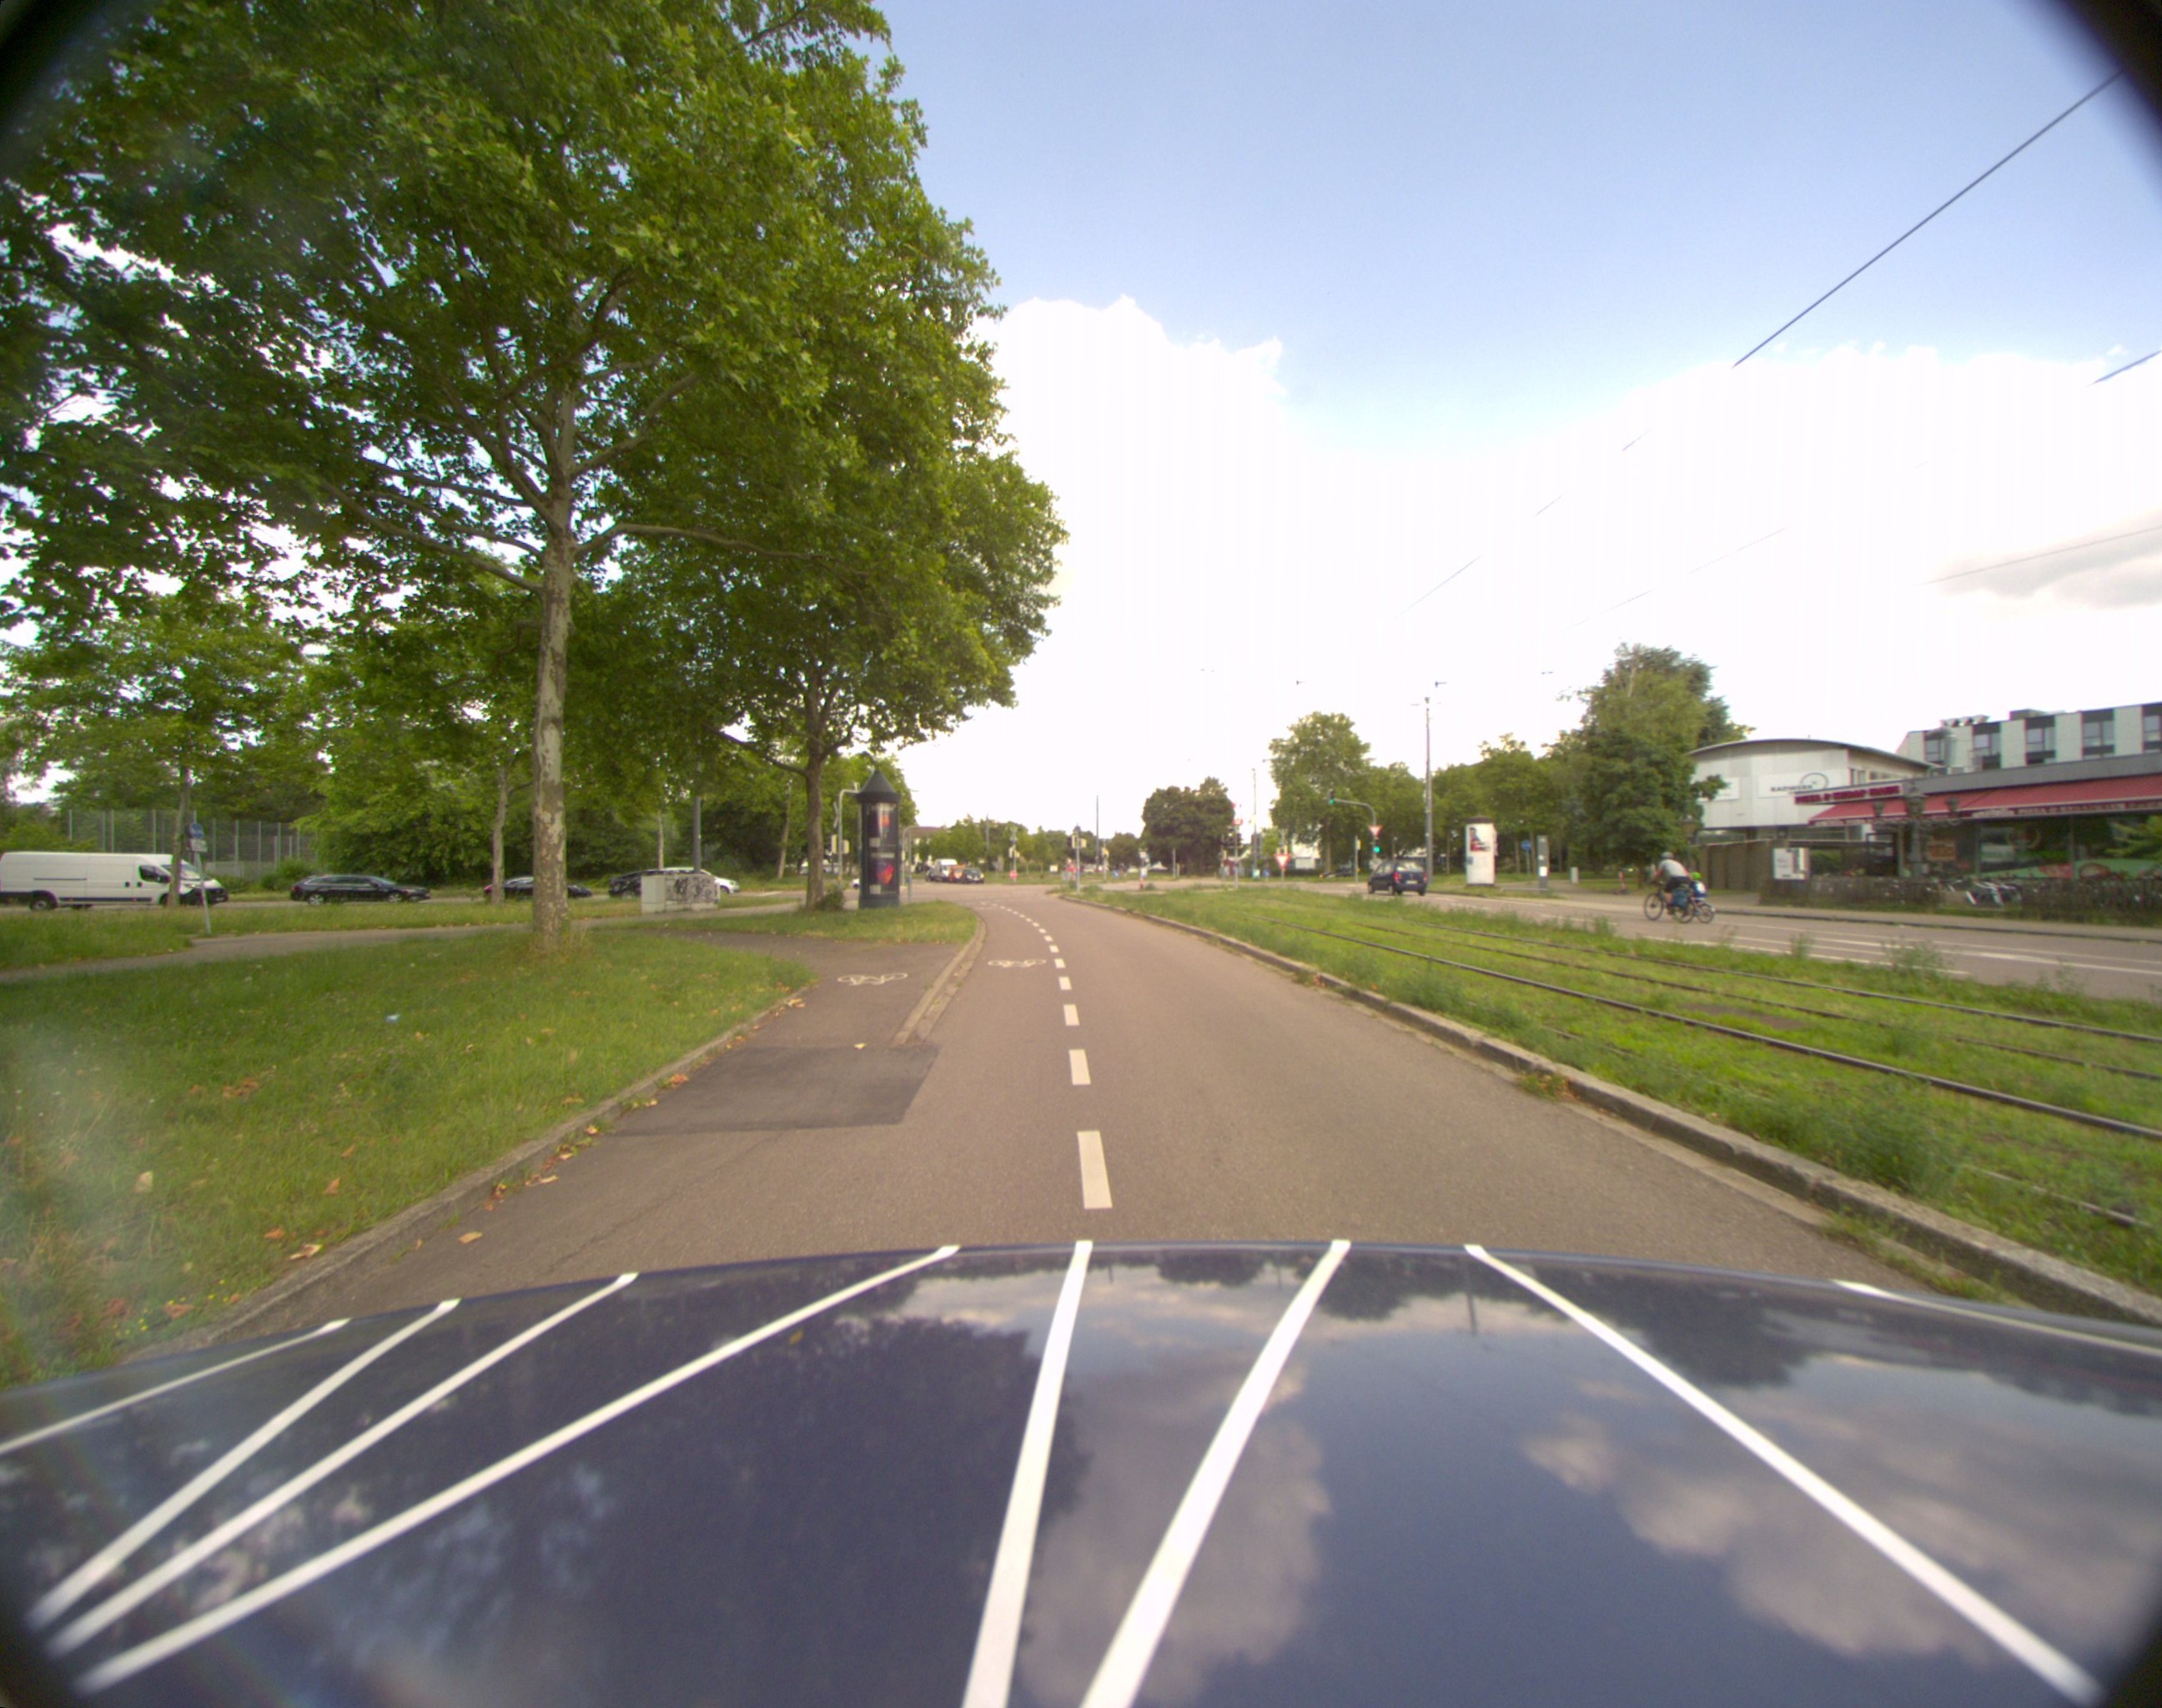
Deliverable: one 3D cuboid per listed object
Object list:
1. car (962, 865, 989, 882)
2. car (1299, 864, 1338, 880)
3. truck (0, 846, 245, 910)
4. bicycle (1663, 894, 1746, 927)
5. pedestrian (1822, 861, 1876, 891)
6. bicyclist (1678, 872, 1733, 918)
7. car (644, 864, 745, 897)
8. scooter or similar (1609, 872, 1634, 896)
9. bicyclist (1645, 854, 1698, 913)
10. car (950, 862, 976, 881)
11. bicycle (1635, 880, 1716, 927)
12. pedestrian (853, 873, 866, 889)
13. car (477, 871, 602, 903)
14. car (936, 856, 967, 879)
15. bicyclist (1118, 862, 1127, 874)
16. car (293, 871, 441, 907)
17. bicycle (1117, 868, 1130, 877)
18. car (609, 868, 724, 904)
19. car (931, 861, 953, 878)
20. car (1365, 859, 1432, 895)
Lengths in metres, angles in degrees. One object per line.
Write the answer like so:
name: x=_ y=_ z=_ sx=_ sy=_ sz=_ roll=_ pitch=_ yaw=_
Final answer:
car: x=-10.276 y=1.882 z=74.034 sx=1.798 sy=1.530 sz=3.994 roll=-1 pitch=0 yaw=-20
car: x=23.602 y=1.811 z=75.522 sx=3.864 sy=1.514 sz=1.695 roll=0 pitch=0 yaw=-33
truck: x=-41.566 y=0.979 z=33.165 sx=6.515 sy=2.580 sz=2.213 roll=0 pitch=0 yaw=-21
bicycle: x=15.569 y=1.393 z=19.033 sx=0.647 sy=0.713 sz=1.805 roll=0 pitch=0 yaw=1
pedestrian: x=30.366 y=0.868 z=30.057 sx=1.156 sy=1.139 sz=0.932 roll=0 pitch=0 yaw=0
bicyclist: x=15.568 y=1.010 z=18.958 sx=0.641 sy=1.106 sz=0.929 roll=0 pitch=0 yaw=2
car: x=-20.805 y=1.399 z=41.124 sx=4.692 sy=1.601 sz=1.996 roll=0 pitch=0 yaw=-22
scooter or similar: x=24.672 y=1.359 z=34.725 sx=0.427 sy=1.027 sz=1.224 roll=-1 pitch=0 yaw=9
bicyclist: x=14.836 y=0.732 z=19.098 sx=0.624 sy=1.449 sz=0.929 roll=0 pitch=0 yaw=1
car: x=-12.454 y=1.811 z=79.756 sx=1.798 sy=1.924 sz=4.361 roll=-1 pitch=0 yaw=-20
bicycle: x=14.833 y=1.212 z=19.031 sx=0.647 sy=1.073 sz=1.805 roll=0 pitch=0 yaw=1
pedestrian: x=-14.621 y=1.791 z=50.157 sx=0.723 sy=1.028 sz=0.900 roll=0 pitch=0 yaw=-21
car: x=-27.131 y=1.636 z=38.268 sx=4.755 sy=1.461 sz=1.996 roll=0 pitch=0 yaw=-22
car: x=-14.683 y=1.545 z=85.900 sx=2.242 sy=2.492 sz=5.716 roll=-1 pitch=0 yaw=-21
bicyclist: x=5.256 y=1.708 z=95.415 sx=0.805 sy=1.461 sz=0.831 roll=-1 pitch=-2 yaw=-23
car: x=-33.696 y=1.630 z=36.027 sx=4.692 sy=1.504 sz=1.996 roll=0 pitch=0 yaw=-22
bicycle: x=5.341 y=2.326 z=95.252 sx=0.805 sy=1.053 sz=2.066 roll=-1 pitch=-2 yaw=-23
car: x=-20.208 y=1.514 z=37.281 sx=4.692 sy=1.601 sz=1.996 roll=0 pitch=0 yaw=-21
car: x=-16.756 y=1.890 z=91.236 sx=1.798 sy=1.924 sz=4.361 roll=-1 pitch=0 yaw=-21
car: x=15.019 y=1.051 z=36.106 sx=1.783 sy=1.617 sz=3.496 roll=0 pitch=0 yaw=1
